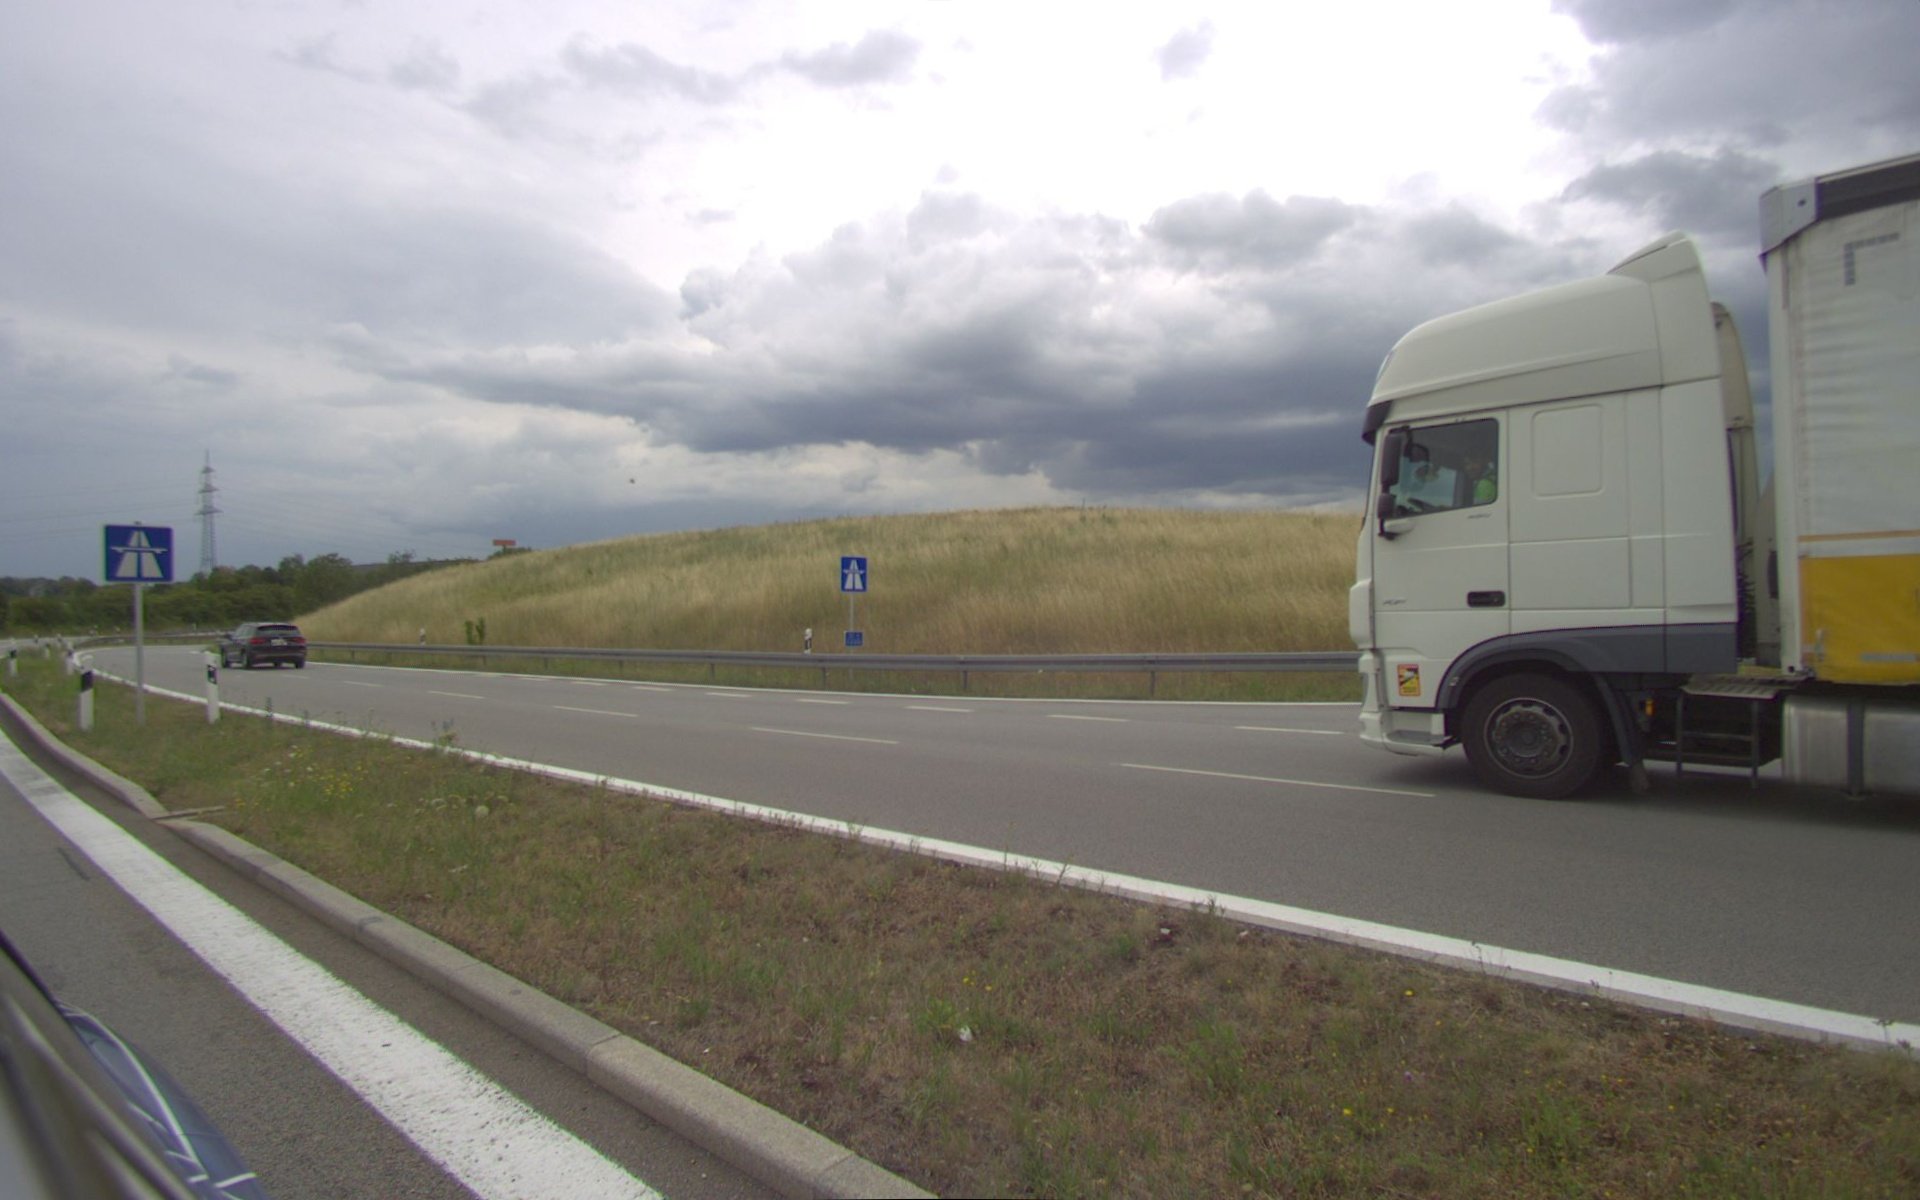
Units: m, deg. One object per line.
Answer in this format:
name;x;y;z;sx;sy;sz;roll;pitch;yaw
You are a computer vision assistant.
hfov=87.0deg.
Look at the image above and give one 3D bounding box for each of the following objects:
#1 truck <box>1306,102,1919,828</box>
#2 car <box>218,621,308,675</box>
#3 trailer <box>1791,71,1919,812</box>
truck;6.084;-0.782;7.088;6.403;4.172;2.621;-1;0;43
car;-24.335;1.601;35.298;1.970;1.696;4.117;-1;0;-44
trailer;11.070;-0.974;2.465;13.840;4.242;2.663;-1;0;43
